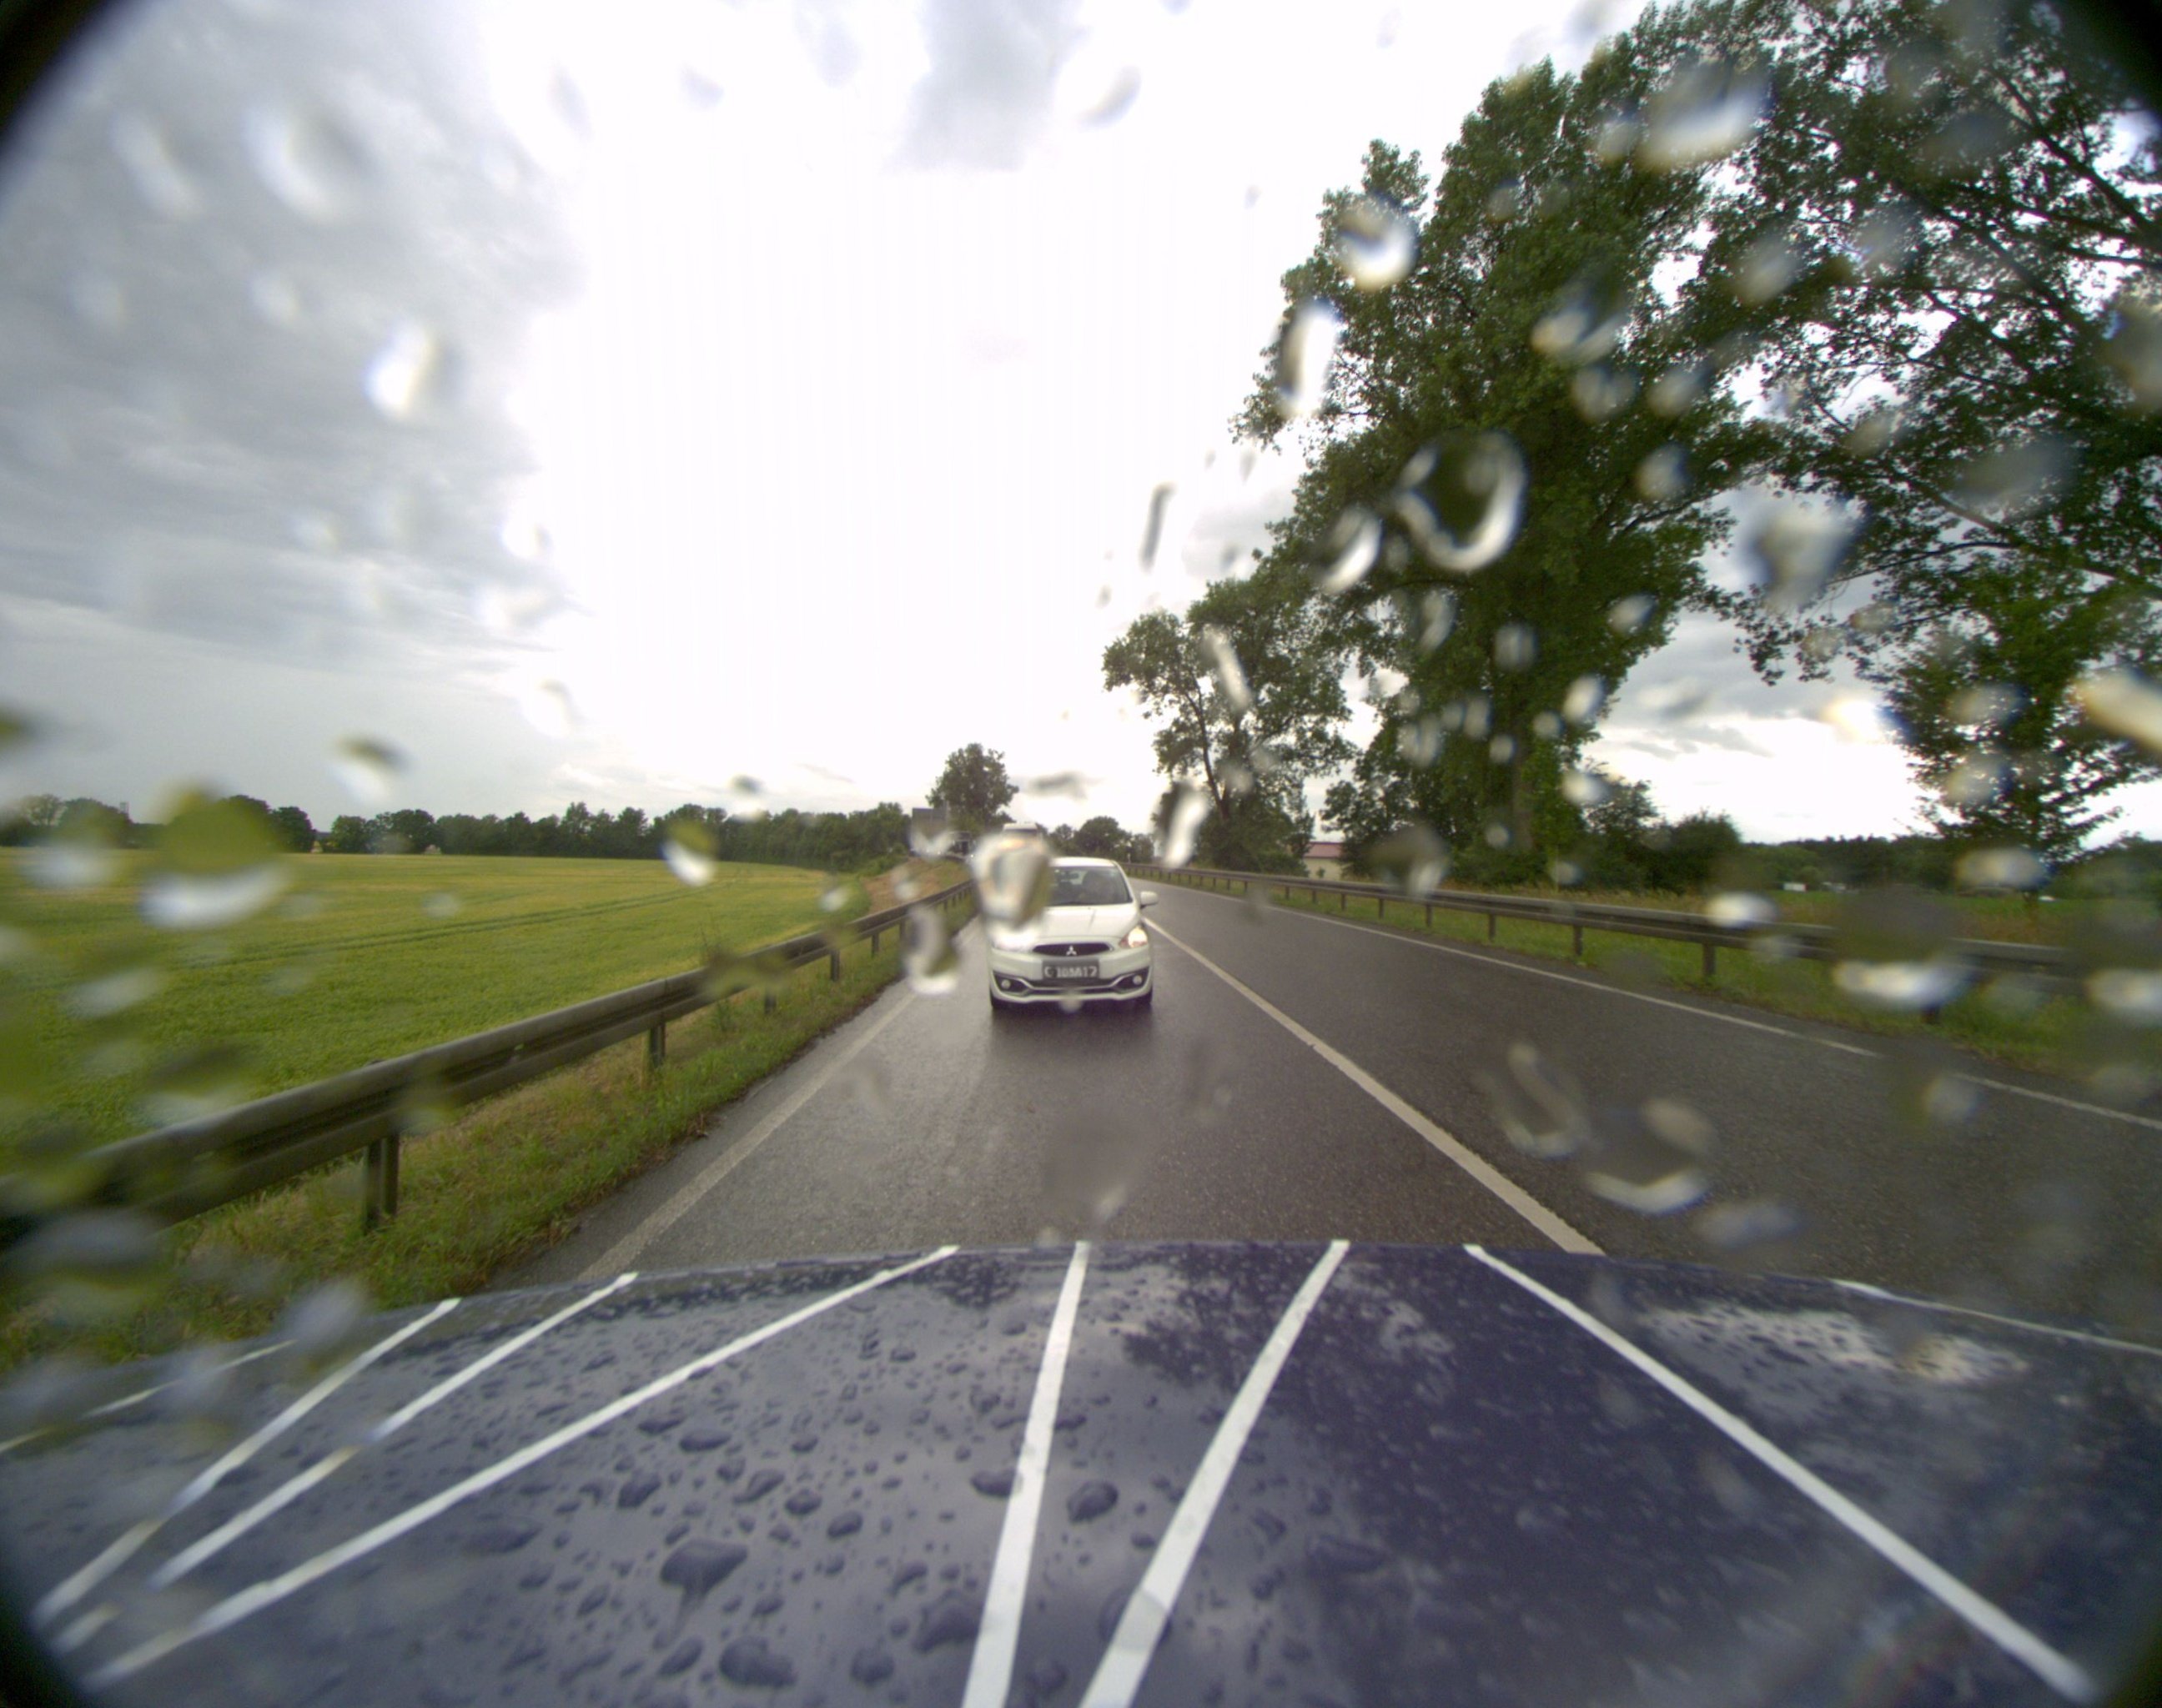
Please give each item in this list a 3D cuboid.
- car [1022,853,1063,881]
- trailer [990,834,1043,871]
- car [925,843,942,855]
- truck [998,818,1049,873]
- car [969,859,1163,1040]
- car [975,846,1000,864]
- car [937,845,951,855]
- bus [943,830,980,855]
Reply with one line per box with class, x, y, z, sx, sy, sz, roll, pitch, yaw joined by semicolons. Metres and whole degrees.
car;-2.136;0.680;41.591;1.782;1.380;4.325;-2;1;-8
trailer;-5.623;-0.171;63.176;2.986;2.618;15.667;-2;1;-10
car;-27.498;-0.896;141.627;2.002;2.002;5.326;-3;1;-22
truck;-4.221;-0.608;54.745;2.986;3.589;6.074;-2;1;-10
car;-0.172;0.857;8.715;1.653;1.461;4.029;-2;1;-1
car;-10.589;0.074;85.439;2.044;1.832;5.328;-2;1;-15
car;-23.165;-0.659;128.529;1.816;1.568;3.993;-2;1;-18
bus;-17.670;-1.655;111.273;2.968;3.294;14.812;-3;2;-18
